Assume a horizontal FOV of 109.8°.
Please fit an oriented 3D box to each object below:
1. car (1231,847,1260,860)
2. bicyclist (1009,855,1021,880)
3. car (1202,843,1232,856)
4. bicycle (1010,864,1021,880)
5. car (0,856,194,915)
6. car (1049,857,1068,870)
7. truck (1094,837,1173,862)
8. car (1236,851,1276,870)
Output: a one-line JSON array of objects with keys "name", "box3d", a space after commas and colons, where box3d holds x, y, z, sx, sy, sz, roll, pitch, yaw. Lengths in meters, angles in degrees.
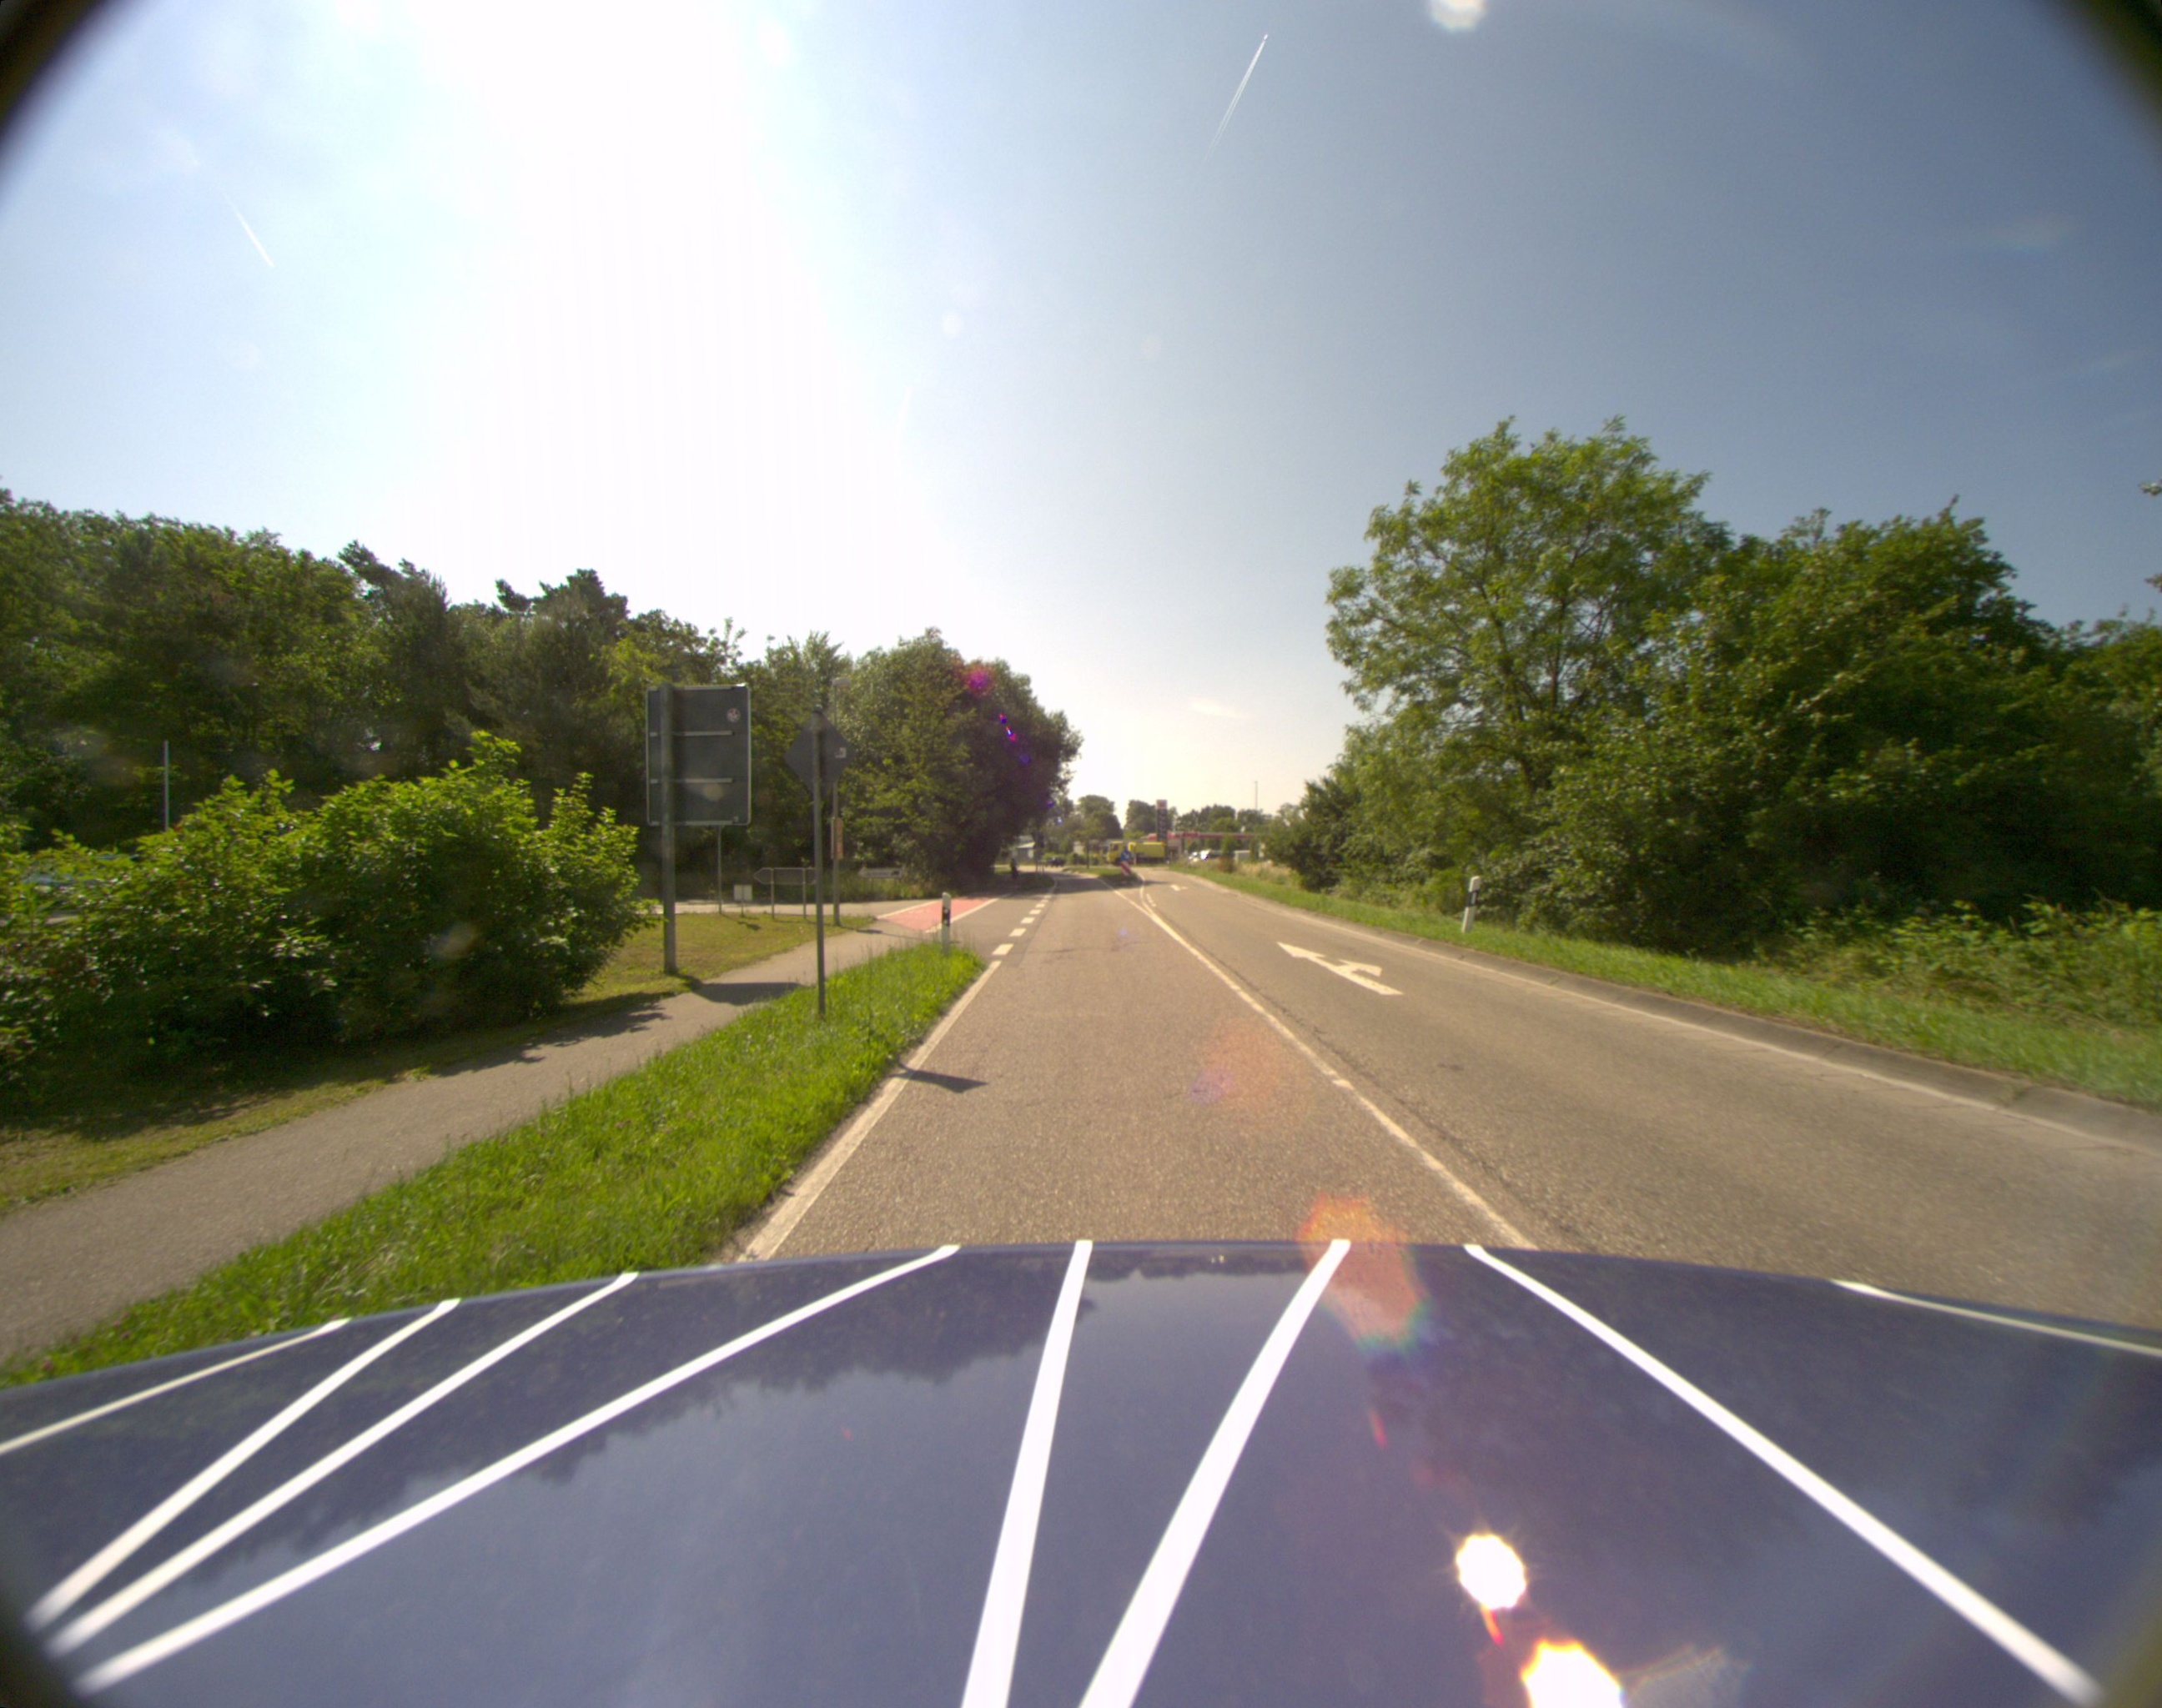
[{"name": "car", "box3d": [25.525, -0.073, 117.739, 4.004, 1.936, 1.996, -1, 0, -20]}, {"name": "bicyclist", "box3d": [-4.822, 0.977, 55.525, 0.638, 1.720, 0.978, -2, 1, 2]}, {"name": "car", "box3d": [20.658, -0.707, 115.502, 4.004, 1.936, 1.996, 0, 1, -20]}, {"name": "bicycle", "box3d": [-4.762, 1.311, 55.452, 0.591, 1.117, 1.520, -2, 0, 2]}, {"name": "car", "box3d": [-28.520, 0.827, 22.200, 1.762, 1.522, 4.364, 0, 0, -26]}, {"name": "car", "box3d": [-3.095, 1.265, 103.831, 1.830, 1.630, 3.833, 0, 0, -13]}, {"name": "truck", "box3d": [7.039, -0.618, 102.913, 10.334, 3.374, 3.884, 0, 0, -1]}, {"name": "car", "box3d": [19.637, 0.691, 85.480, 3.998, 2.155, 1.999, 0, 1, -2]}]
